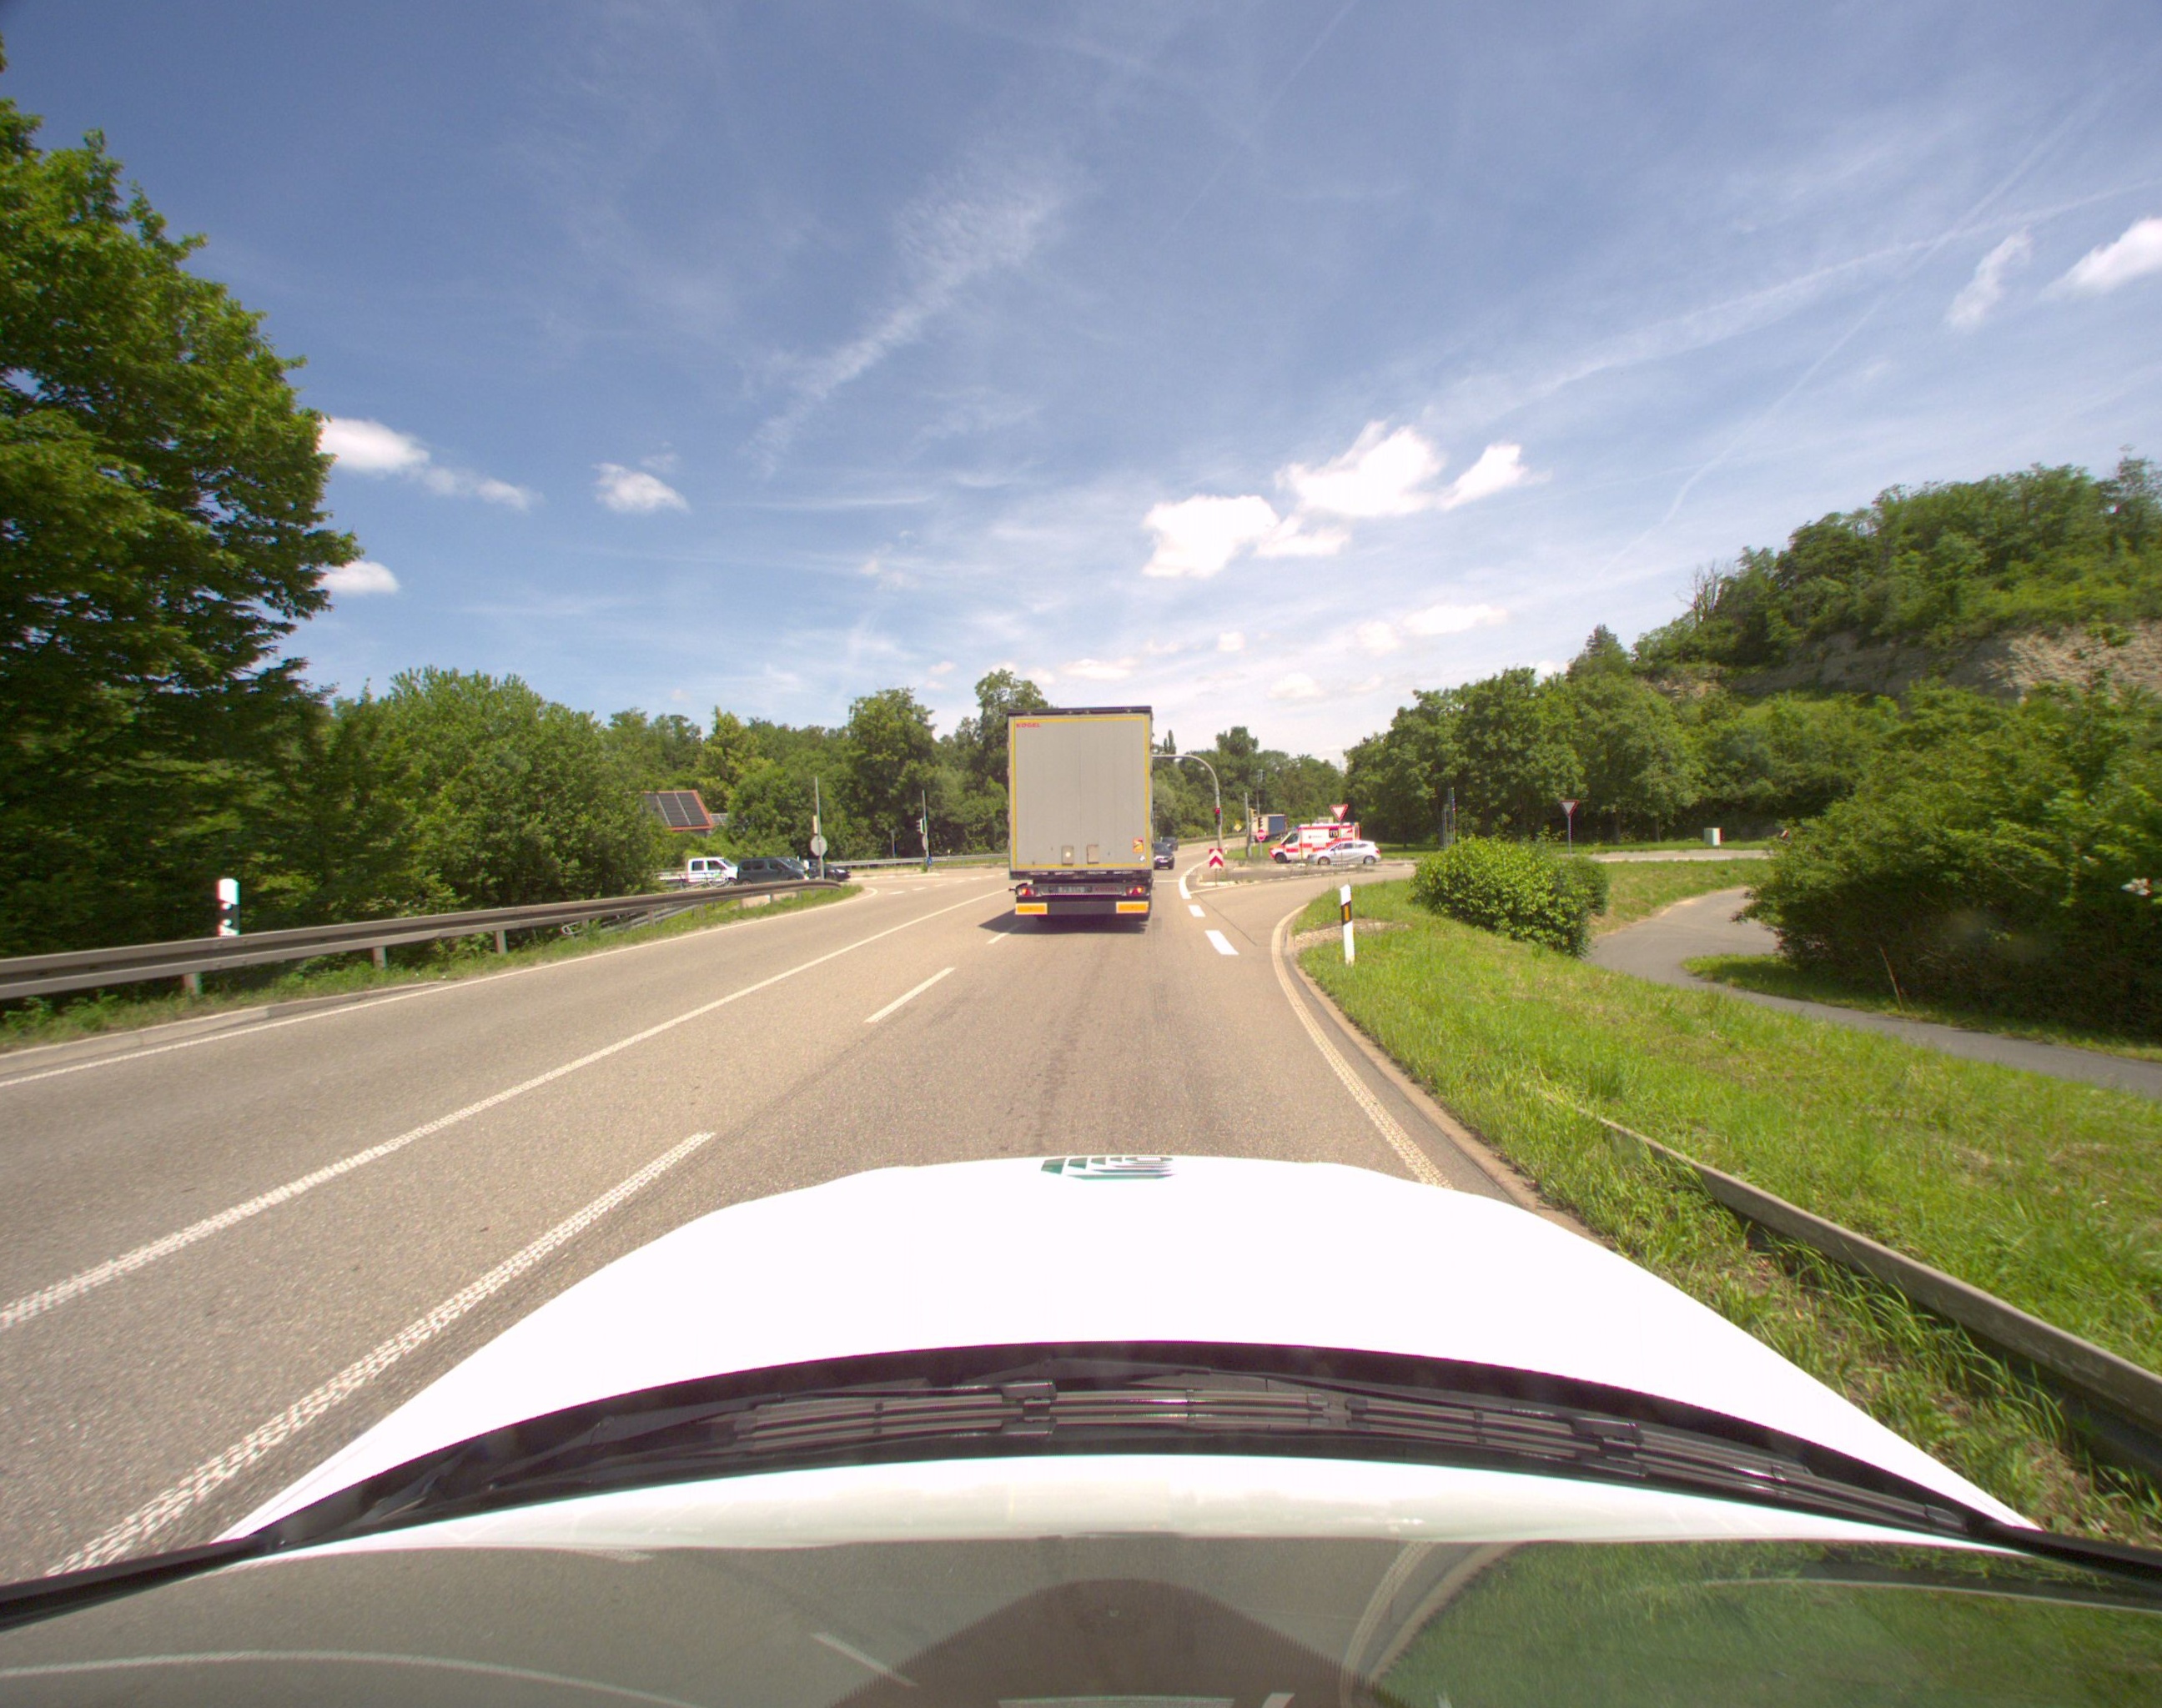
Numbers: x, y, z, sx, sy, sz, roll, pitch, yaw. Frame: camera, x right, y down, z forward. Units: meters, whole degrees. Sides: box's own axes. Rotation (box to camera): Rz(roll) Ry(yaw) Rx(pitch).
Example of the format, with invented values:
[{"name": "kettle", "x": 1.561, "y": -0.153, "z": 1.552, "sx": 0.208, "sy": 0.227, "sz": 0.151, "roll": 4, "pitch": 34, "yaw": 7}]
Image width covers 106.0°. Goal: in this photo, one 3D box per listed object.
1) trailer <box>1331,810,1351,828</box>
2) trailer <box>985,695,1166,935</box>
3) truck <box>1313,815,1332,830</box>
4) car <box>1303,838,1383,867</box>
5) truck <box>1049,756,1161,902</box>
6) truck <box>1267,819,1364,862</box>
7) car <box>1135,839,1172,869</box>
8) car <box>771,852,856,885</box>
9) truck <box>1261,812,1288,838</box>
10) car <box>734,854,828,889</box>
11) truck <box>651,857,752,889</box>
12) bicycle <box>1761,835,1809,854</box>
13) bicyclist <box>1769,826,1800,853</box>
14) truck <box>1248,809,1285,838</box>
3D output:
[{"name": "trailer", "x": 58.110, "y": -7.811, "z": 181.931, "sx": 3.222, "sy": 3.685, "sz": 9.304, "roll": -1, "pitch": 0, "yaw": 25}, {"name": "trailer", "x": 0.455, "y": -0.660, "z": 20.201, "sx": 3.037, "sy": 4.034, "sz": 12.576, "roll": -1, "pitch": 0, "yaw": 5}, {"name": "truck", "x": 49.658, "y": -6.389, "z": 167.414, "sx": 2.829, "sy": 2.948, "sz": 7.145, "roll": -1, "pitch": 0, "yaw": 25}, {"name": "car", "x": 15.942, "y": -0.080, "z": 49.745, "sx": 4.403, "sy": 1.718, "sz": 2.004, "roll": 0, "pitch": -2, "yaw": 7}, {"name": "truck", "x": 0.956, "y": -0.690, "z": 26.041, "sx": 3.023, "sy": 4.034, "sz": 6.638, "roll": -1, "pitch": 0, "yaw": 5}, {"name": "truck", "x": 16.100, "y": -0.863, "z": 55.936, "sx": 5.954, "sy": 2.728, "sz": 2.517, "roll": -1, "pitch": -2, "yaw": 29}, {"name": "car", "x": 4.561, "y": 0.039, "z": 52.062, "sx": 1.987, "sy": 1.785, "sz": 4.942, "roll": 0, "pitch": -1, "yaw": 1}, {"name": "car", "x": -15.559, "y": 0.842, "z": 47.424, "sx": 4.205, "sy": 1.770, "sz": 2.007, "roll": -1, "pitch": 0, "yaw": 12}, {"name": "truck", "x": 30.891, "y": -4.584, "z": 129.680, "sx": 3.140, "sy": 4.004, "sz": 5.848, "roll": 0, "pitch": 1, "yaw": 24}, {"name": "car", "x": -15.938, "y": 0.922, "z": 43.301, "sx": 4.205, "sy": 1.770, "sz": 2.007, "roll": -1, "pitch": 0, "yaw": 12}, {"name": "truck", "x": -21.680, "y": 1.101, "z": 46.719, "sx": 4.875, "sy": 1.791, "sz": 2.036, "roll": 0, "pitch": -2, "yaw": -10}, {"name": "bicycle", "x": 39.276, "y": -0.515, "z": 45.439, "sx": 1.982, "sy": 0.995, "sz": 0.797, "roll": 0, "pitch": -2, "yaw": 0}, {"name": "bicyclist", "x": 39.223, "y": -0.804, "z": 45.434, "sx": 1.002, "sy": 1.448, "sz": 0.795, "roll": 0, "pitch": -2, "yaw": 0}, {"name": "truck", "x": 28.442, "y": -4.530, "z": 124.279, "sx": 3.150, "sy": 4.029, "sz": 11.812, "roll": 0, "pitch": 0, "yaw": 24}]
